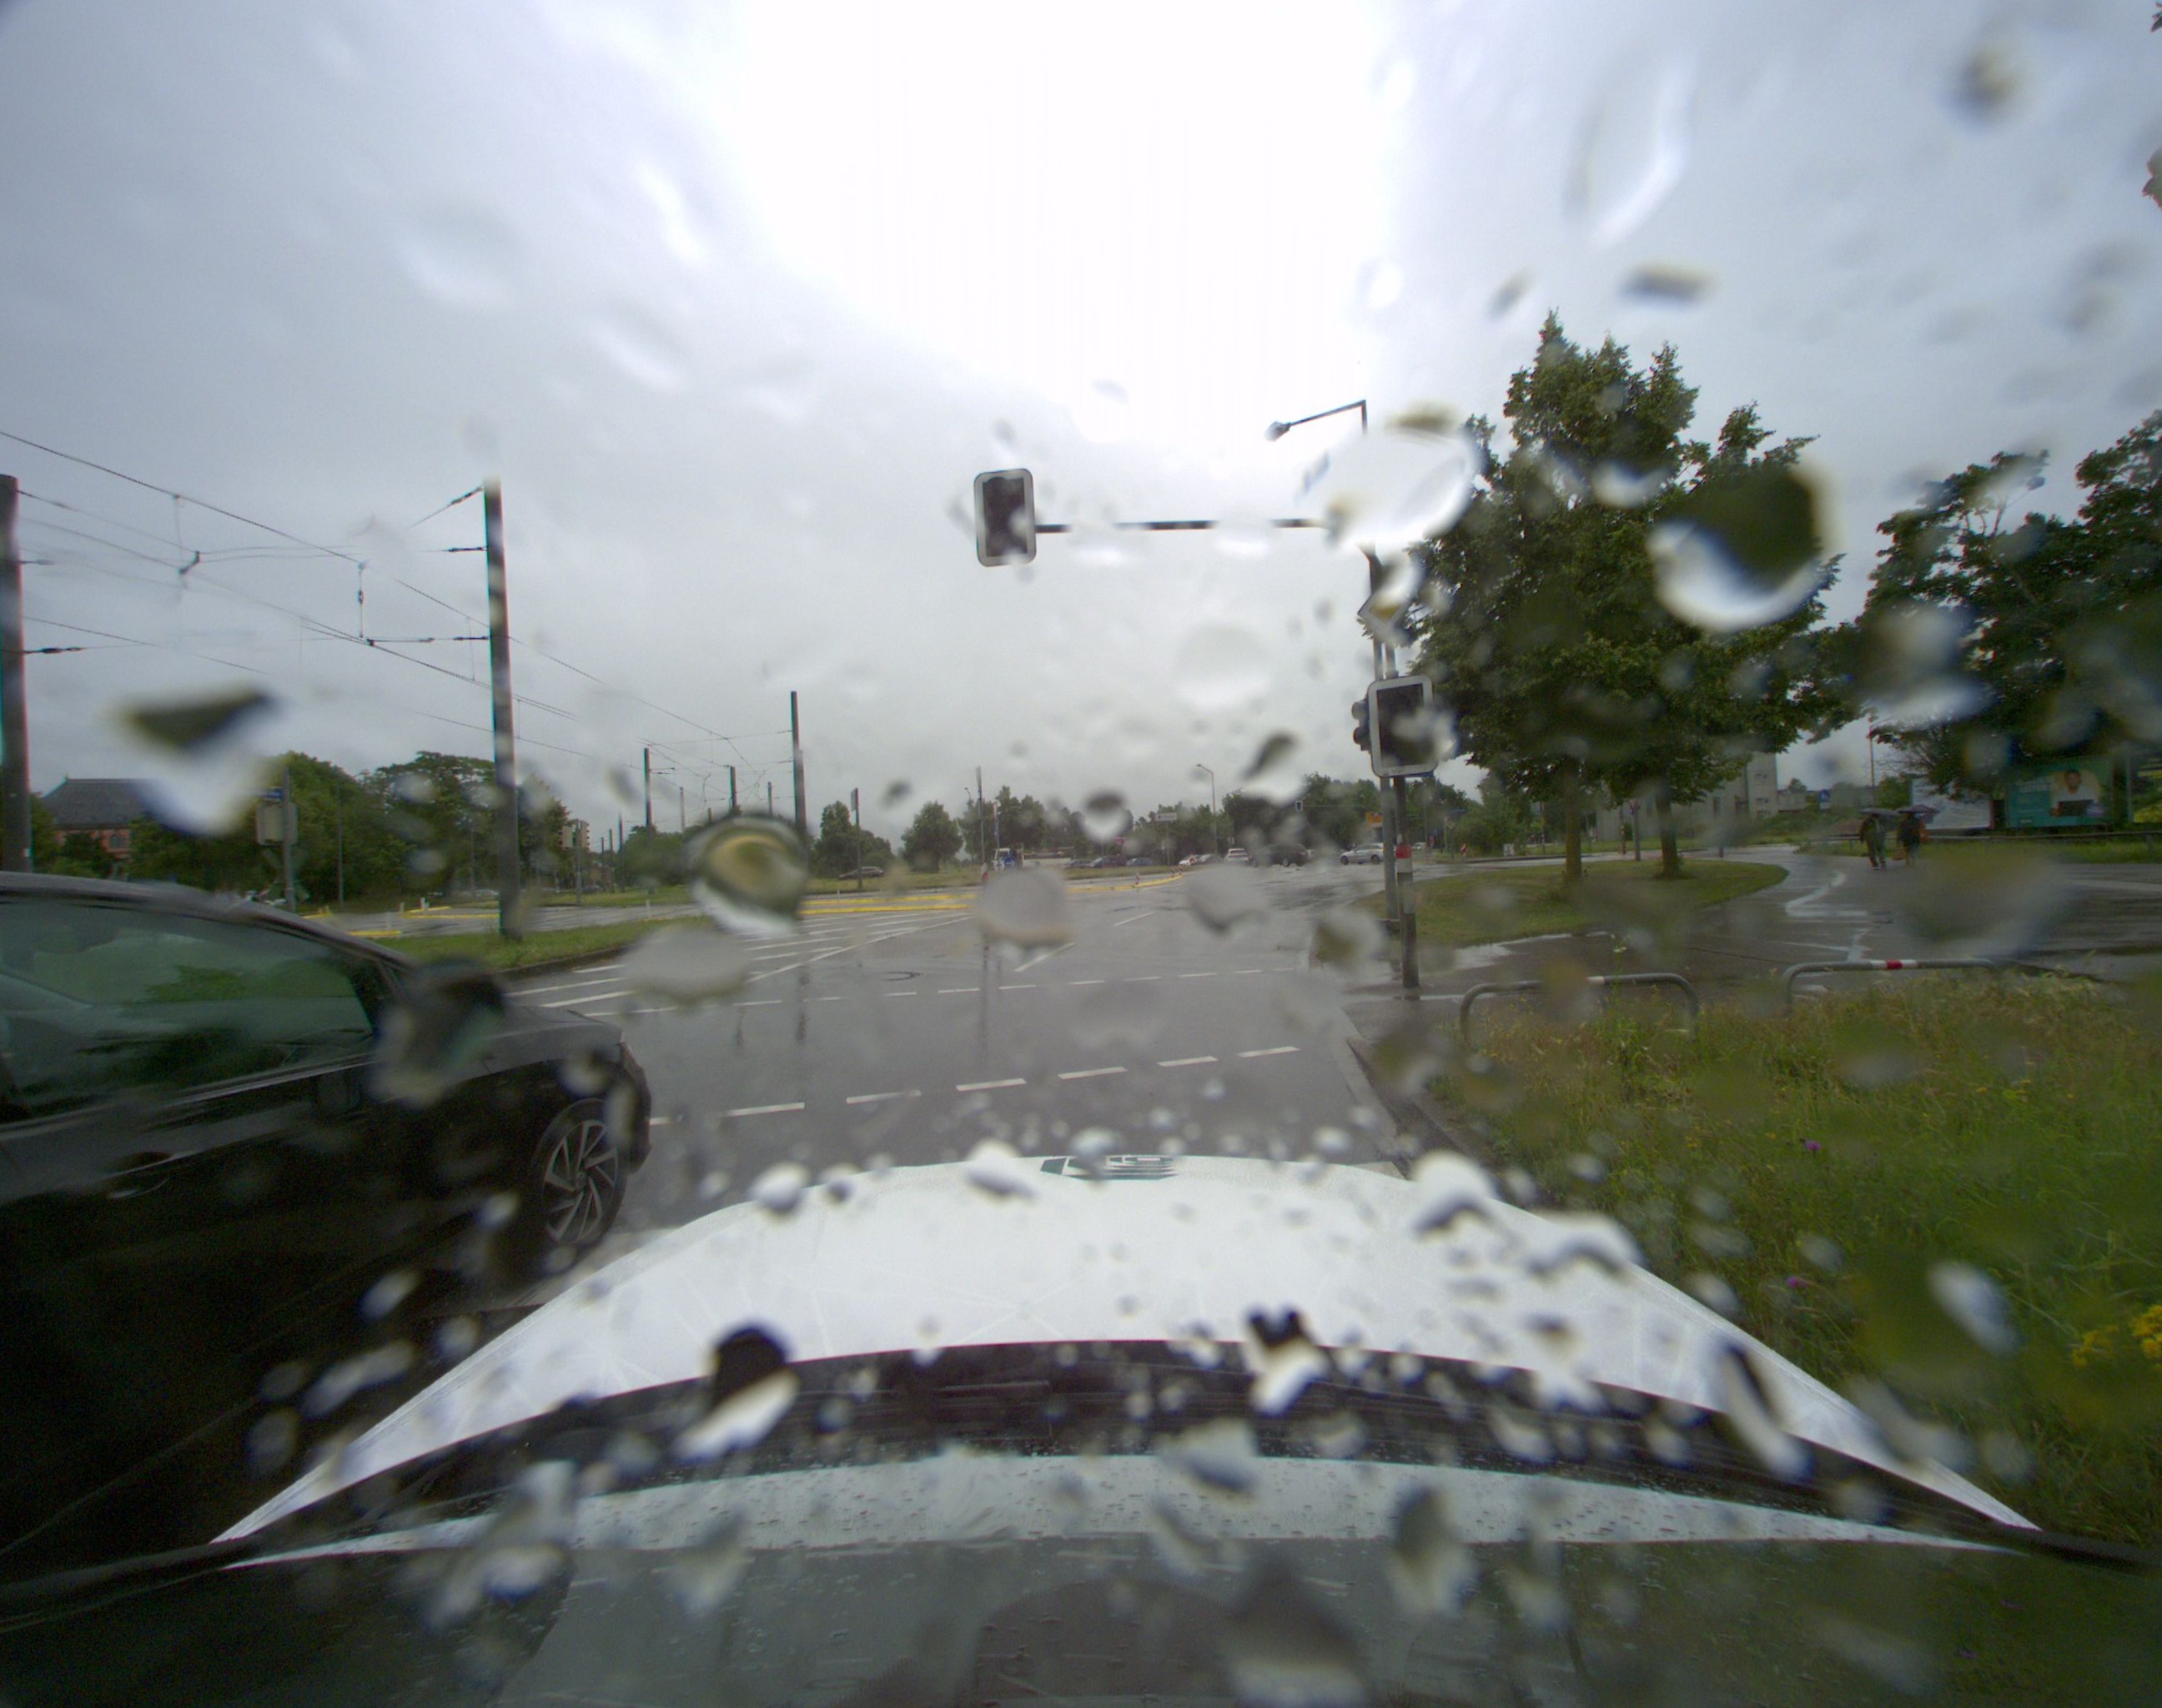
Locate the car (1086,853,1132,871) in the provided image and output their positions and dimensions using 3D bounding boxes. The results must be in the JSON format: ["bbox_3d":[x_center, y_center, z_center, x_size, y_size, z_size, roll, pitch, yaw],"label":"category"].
[{"bbox_3d":[2.834,0.816,81.326,4.894,1.744,1.756,0,-1,-45],"label":"car"}]

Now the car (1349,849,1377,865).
[{"bbox_3d":[29.168,0.347,84.101,1.672,1.492,3.272,-3,0,39],"label":"car"}]

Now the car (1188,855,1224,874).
[{"bbox_3d":[13.854,1.140,90.128,4.021,2.014,1.657,0,-1,-41],"label":"car"}]

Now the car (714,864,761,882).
[{"bbox_3d":[-31.343,1.740,74.412,3.864,1.620,1.530,0,-1,-28],"label":"car"}]

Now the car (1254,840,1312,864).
[{"bbox_3d":[14.617,-0.101,59.126,1.795,1.648,3.959,0,-1,-32],"label":"car"}]

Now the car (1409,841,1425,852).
[{"bbox_3d":[63.640,-1.347,154.329,1.771,2.014,3.697,-1,-1,39],"label":"car"}]

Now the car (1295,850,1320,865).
[{"bbox_3d":[24.825,0.369,89.286,1.672,1.492,3.272,-3,0,33],"label":"car"}]

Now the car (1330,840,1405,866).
[{"bbox_3d":[20.172,-0.035,57.456,1.797,1.811,4.783,0,-1,-37],"label":"car"}]

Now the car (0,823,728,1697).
[{"bbox_3d":[-2.749,0.715,1.954,1.776,1.517,4.334,0,-1,2],"label":"car"}]

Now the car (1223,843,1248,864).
[{"bbox_3d":[12.954,-0.010,68.326,1.673,1.648,3.952,0,-1,5],"label":"car"}]

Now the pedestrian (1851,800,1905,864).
[{"bbox_3d":[22.544,-0.600,23.041,0.811,1.784,0.914,0,-1,-33],"label":"pedestrian"}]

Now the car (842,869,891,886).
[{"bbox_3d":[-20.928,2.284,79.557,4.541,1.492,1.604,0,-1,-15],"label":"car"}]

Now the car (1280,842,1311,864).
[{"bbox_3d":[20.151,-0.058,76.361,1.766,2.036,4.025,-1,-1,30],"label":"car"}]

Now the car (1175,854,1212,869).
[{"bbox_3d":[13.633,0.887,98.764,4.892,1.744,1.756,0,-1,-42],"label":"car"}]

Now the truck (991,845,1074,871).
[{"bbox_3d":[-5.203,0.378,87.837,8.785,2.711,1.989,0,-1,-16],"label":"truck"}]

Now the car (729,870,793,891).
[{"bbox_3d":[-27.948,2.269,71.221,4.887,1.744,1.758,0,-1,-36],"label":"car"}]

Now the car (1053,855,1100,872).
[{"bbox_3d":[-0.399,0.983,85.531,4.889,1.744,1.758,0,-1,-38],"label":"car"}]

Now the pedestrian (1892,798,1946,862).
[{"bbox_3d":[23.805,-0.663,23.151,0.811,1.784,0.914,0,-1,-33],"label":"pedestrian"}]

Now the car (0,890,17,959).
[{"bbox_3d":[-23.865,1.523,15.744,1.850,1.486,4.202,0,-1,-17],"label":"car"}]

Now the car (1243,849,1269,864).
[{"bbox_3d":[17.335,0.263,80.567,1.673,1.492,3.271,-1,-1,29],"label":"car"}]
